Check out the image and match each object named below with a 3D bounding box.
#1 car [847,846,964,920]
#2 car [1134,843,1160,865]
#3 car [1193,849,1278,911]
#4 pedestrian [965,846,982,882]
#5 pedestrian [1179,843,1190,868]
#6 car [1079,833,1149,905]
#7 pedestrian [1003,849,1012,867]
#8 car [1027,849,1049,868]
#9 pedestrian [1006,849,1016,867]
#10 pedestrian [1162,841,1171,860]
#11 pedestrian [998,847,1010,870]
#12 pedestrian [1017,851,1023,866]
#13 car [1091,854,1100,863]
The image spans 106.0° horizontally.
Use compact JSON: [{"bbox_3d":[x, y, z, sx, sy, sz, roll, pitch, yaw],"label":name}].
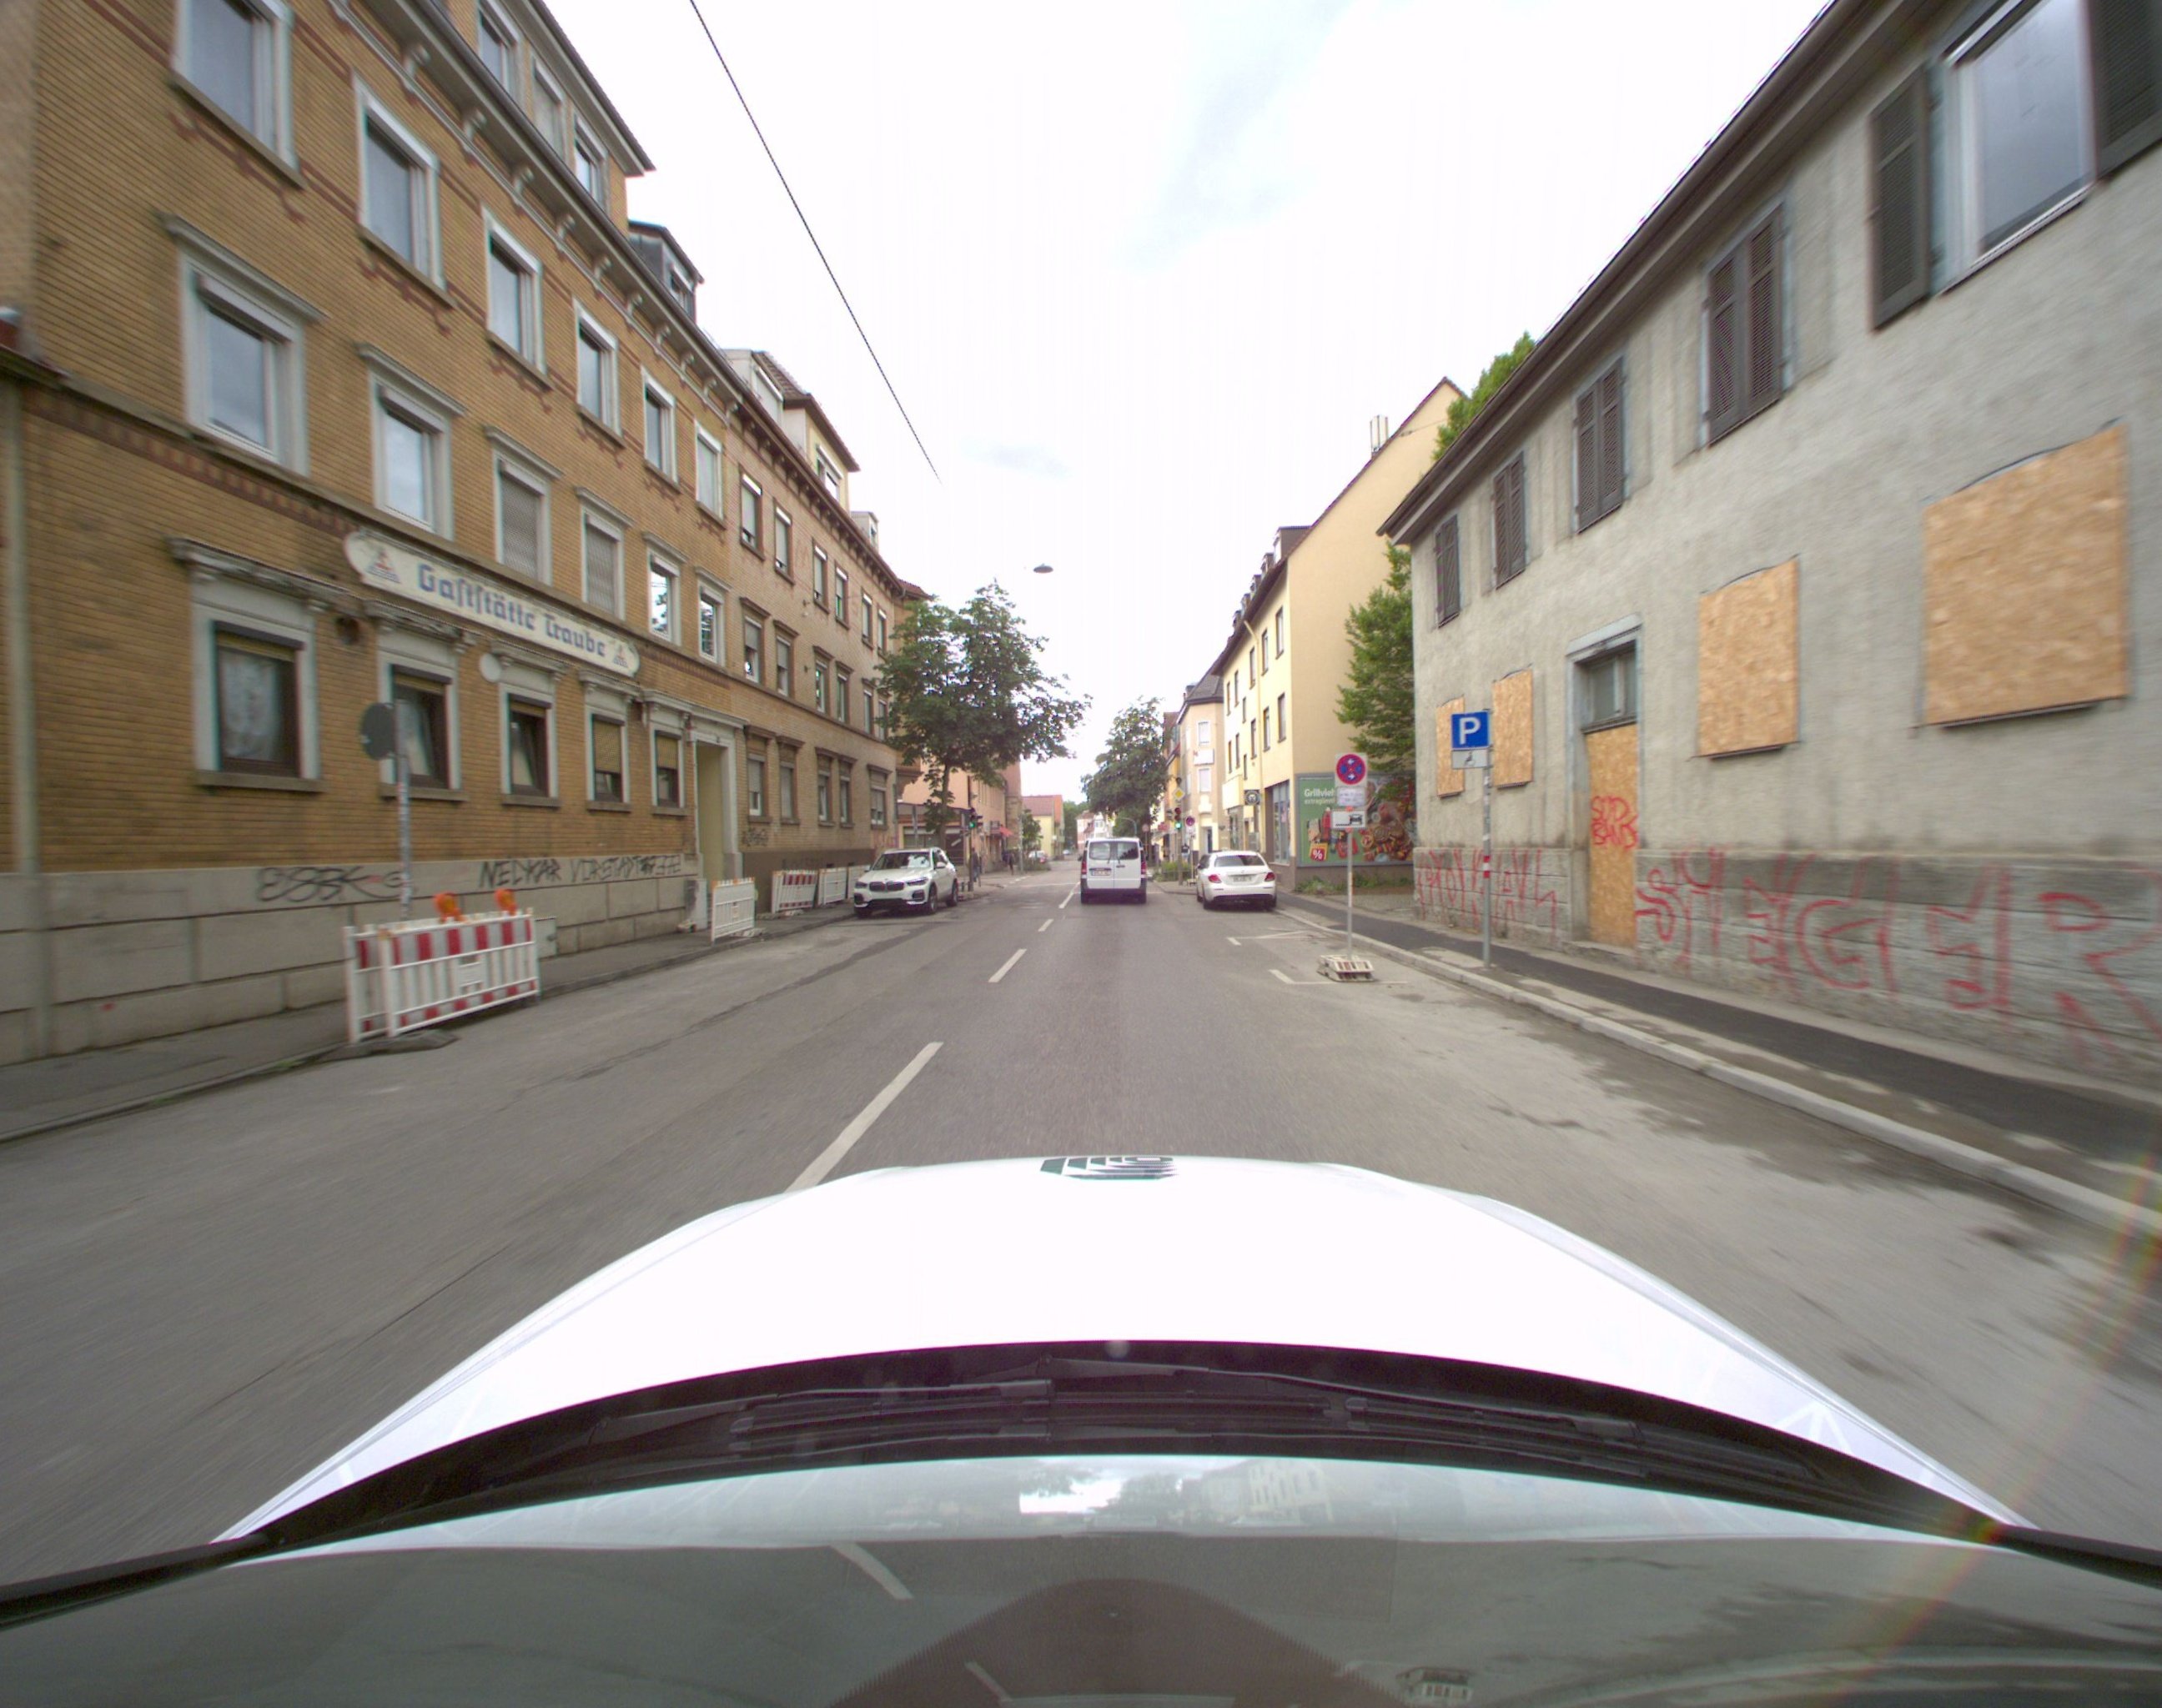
[{"bbox_3d":[-4.629,0.691,22.265,1.884,1.712,4.744,-3,0,2],"label":"car"},{"bbox_3d":[5.712,0.005,70.987,1.814,1.781,4.401,-1,0,-1],"label":"car"},{"bbox_3d":[4.060,0.611,22.083,1.759,1.466,4.790,-1,0,5],"label":"car"},{"bbox_3d":[-5.422,0.490,41.109,0.737,1.754,0.981,-1,0,-4],"label":"pedestrian"},{"bbox_3d":[6.971,0.070,54.983,0.612,1.653,0.982,-1,0,0],"label":"pedestrian"},{"bbox_3d":[0.956,0.406,24.279,1.866,1.912,4.001,-1,0,1],"label":"car"},{"bbox_3d":[-6.632,0.349,73.823,0.730,1.628,0.756,-2,0,-9],"label":"pedestrian"},{"bbox_3d":[-3.979,0.388,76.416,1.697,1.574,4.450,-4,0,0],"label":"car"},{"bbox_3d":[-5.835,0.318,67.657,0.736,1.535,0.982,-1,0,-1],"label":"pedestrian"},{"bbox_3d":[7.578,-0.321,72.150,0.699,1.649,0.888,-3,0,0],"label":"pedestrian"},{"bbox_3d":[-5.623,0.324,59.582,0.736,1.718,1.156,-1,0,-1],"label":"pedestrian"},{"bbox_3d":[-6.122,0.460,81.968,0.569,1.554,0.697,0,0,1],"label":"pedestrian"},{"bbox_3d":[3.301,0.951,188.235,1.929,2.014,3.999,-1,0,-1],"label":"car"}]
